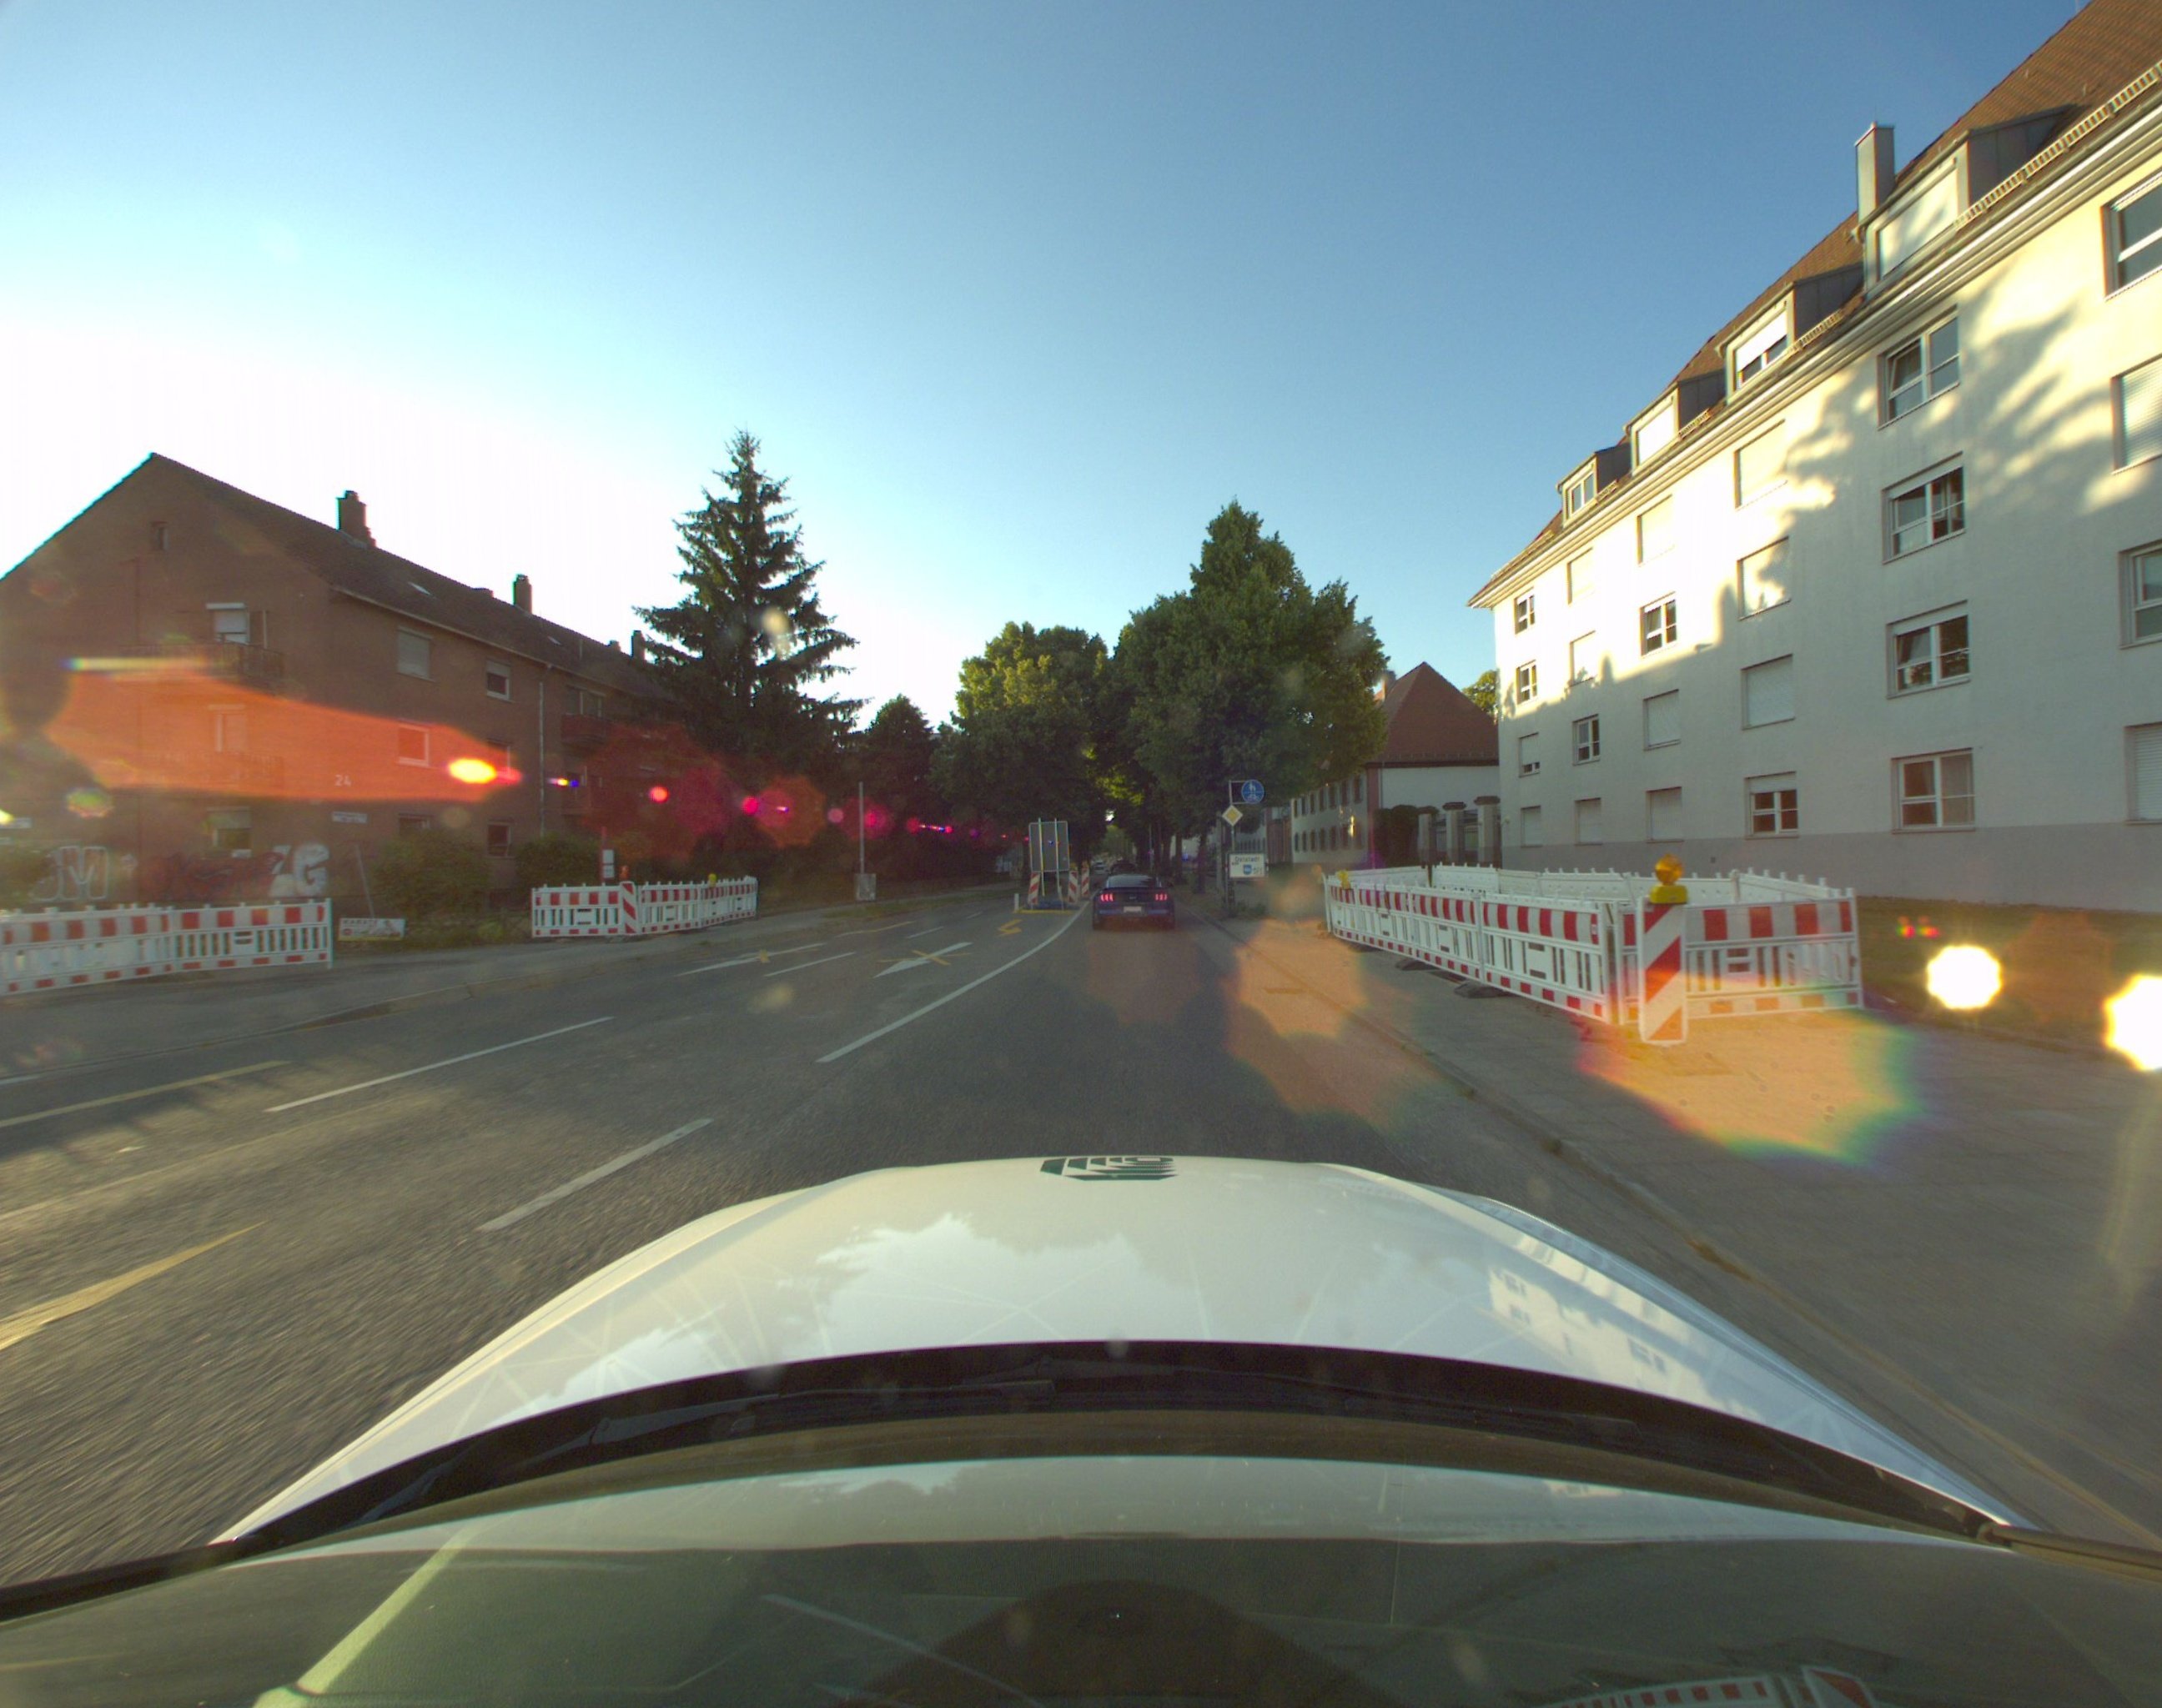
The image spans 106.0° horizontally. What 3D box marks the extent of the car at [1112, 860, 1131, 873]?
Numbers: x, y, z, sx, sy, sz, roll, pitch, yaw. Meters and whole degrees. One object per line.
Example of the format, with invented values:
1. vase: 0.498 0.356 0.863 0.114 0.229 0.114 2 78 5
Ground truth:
1. car: 4.363 1.316 87.357 1.938 1.327 4.005 0 -1 4

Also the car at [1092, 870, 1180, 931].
1. car: 1.312 1.068 20.072 1.939 1.327 4.002 0 -1 2

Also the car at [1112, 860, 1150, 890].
1. car: 2.677 1.083 43.038 1.938 1.527 4.005 0 -1 4

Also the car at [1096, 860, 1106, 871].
1. car: 5.232 2.941 210.063 2.482 2.697 5.833 -2 -1 2
